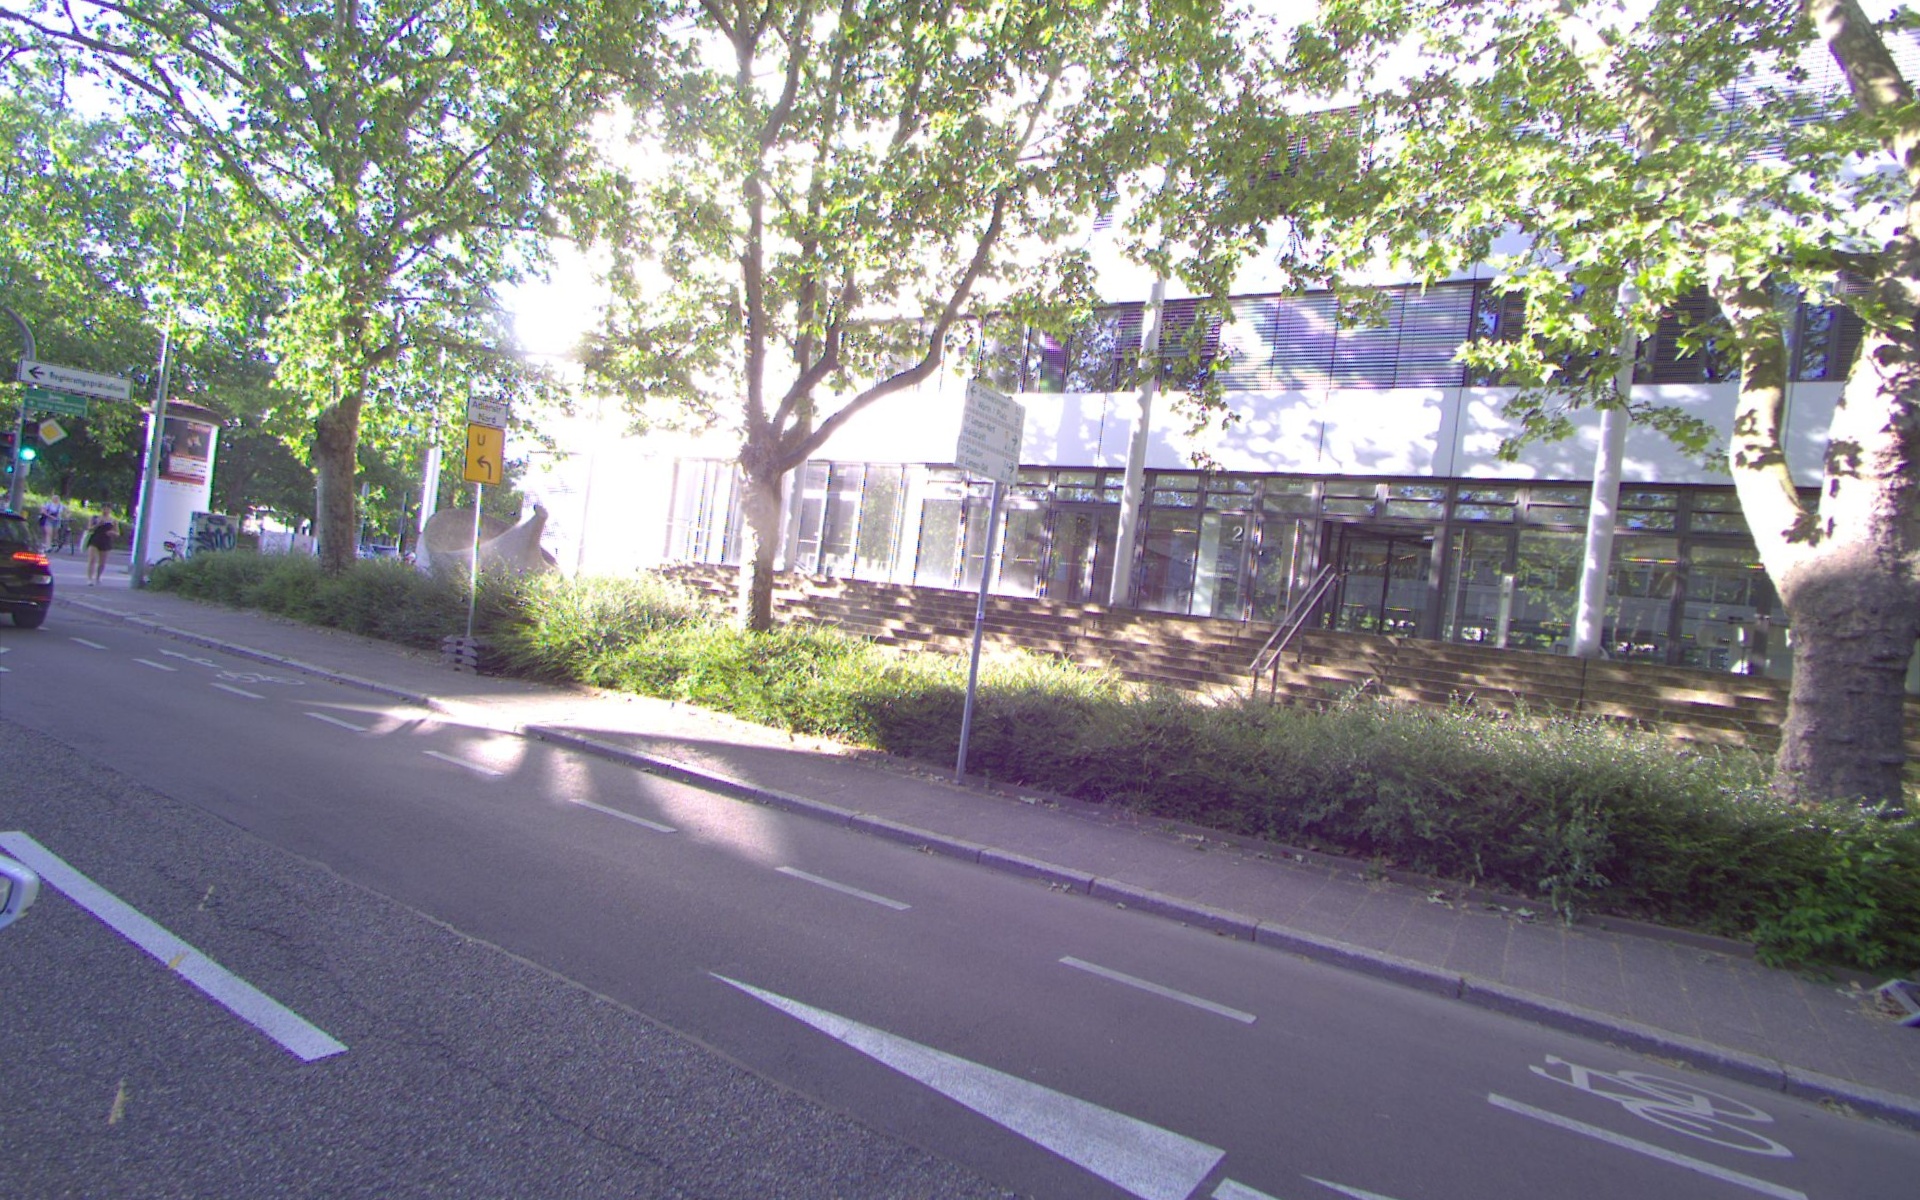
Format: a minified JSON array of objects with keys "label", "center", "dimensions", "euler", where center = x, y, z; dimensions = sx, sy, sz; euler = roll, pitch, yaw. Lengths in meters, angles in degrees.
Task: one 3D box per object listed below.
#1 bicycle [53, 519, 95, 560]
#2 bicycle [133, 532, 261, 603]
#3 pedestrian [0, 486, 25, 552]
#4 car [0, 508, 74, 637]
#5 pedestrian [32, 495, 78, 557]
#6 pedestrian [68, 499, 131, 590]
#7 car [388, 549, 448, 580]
[{"label":"bicycle","center":[-26.788,-1.837,30.411],"dimensions":[1.715,1.113,0.524],"euler":[6,-1,37]},{"label":"bicycle","center":[-15.927,-0.653,21.047],"dimensions":[0.519,1.203,1.980],"euler":[7,-2,30]},{"label":"pedestrian","center":[-27.677,-2.362,29.046],"dimensions":[0.896,1.830,0.731],"euler":[5,0,38]},{"label":"car","center":[-12.928,-0.537,12.520],"dimensions":[3.837,1.456,1.693],"euler":[6,-3,32]},{"label":"pedestrian","center":[-27.061,-2.211,30.089],"dimensions":[0.956,1.717,0.683],"euler":[6,-1,36]},{"label":"pedestrian","center":[-16.608,-1.068,19.424],"dimensions":[0.794,1.651,0.897],"euler":[5,1,-41]},{"label":"car","center":[-35.552,-2.329,65.962],"dimensions":[3.732,1.500,1.633],"euler":[6,-2,31]}]
